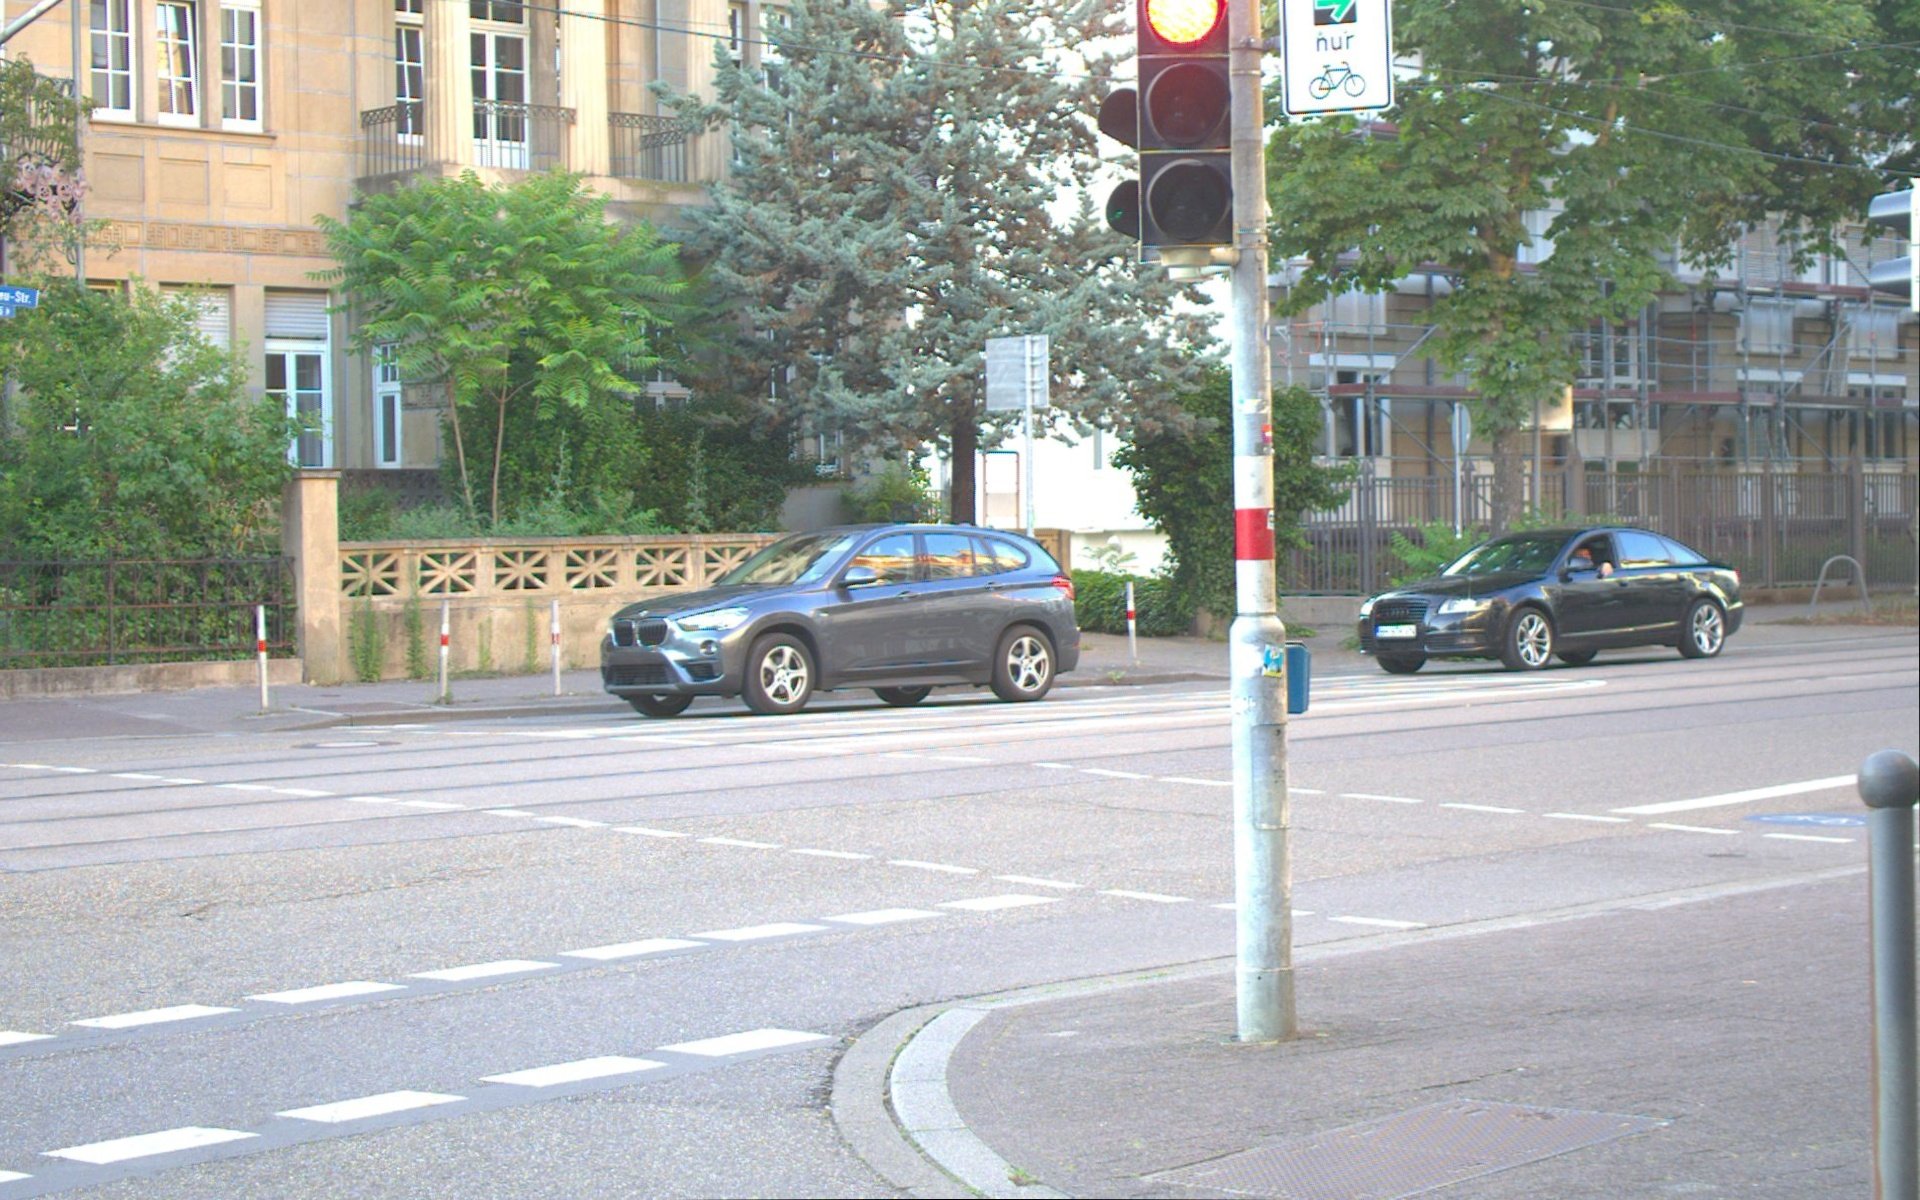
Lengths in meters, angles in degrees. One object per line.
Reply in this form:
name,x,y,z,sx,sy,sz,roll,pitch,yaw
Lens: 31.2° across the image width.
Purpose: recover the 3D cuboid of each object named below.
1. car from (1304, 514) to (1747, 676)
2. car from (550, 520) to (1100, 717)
car,5.844,-0.086,35.221,4.619,1.504,1.949,-2,1,-41
car,-1.094,0.112,29.285,4.407,1.504,1.949,-2,1,-41
